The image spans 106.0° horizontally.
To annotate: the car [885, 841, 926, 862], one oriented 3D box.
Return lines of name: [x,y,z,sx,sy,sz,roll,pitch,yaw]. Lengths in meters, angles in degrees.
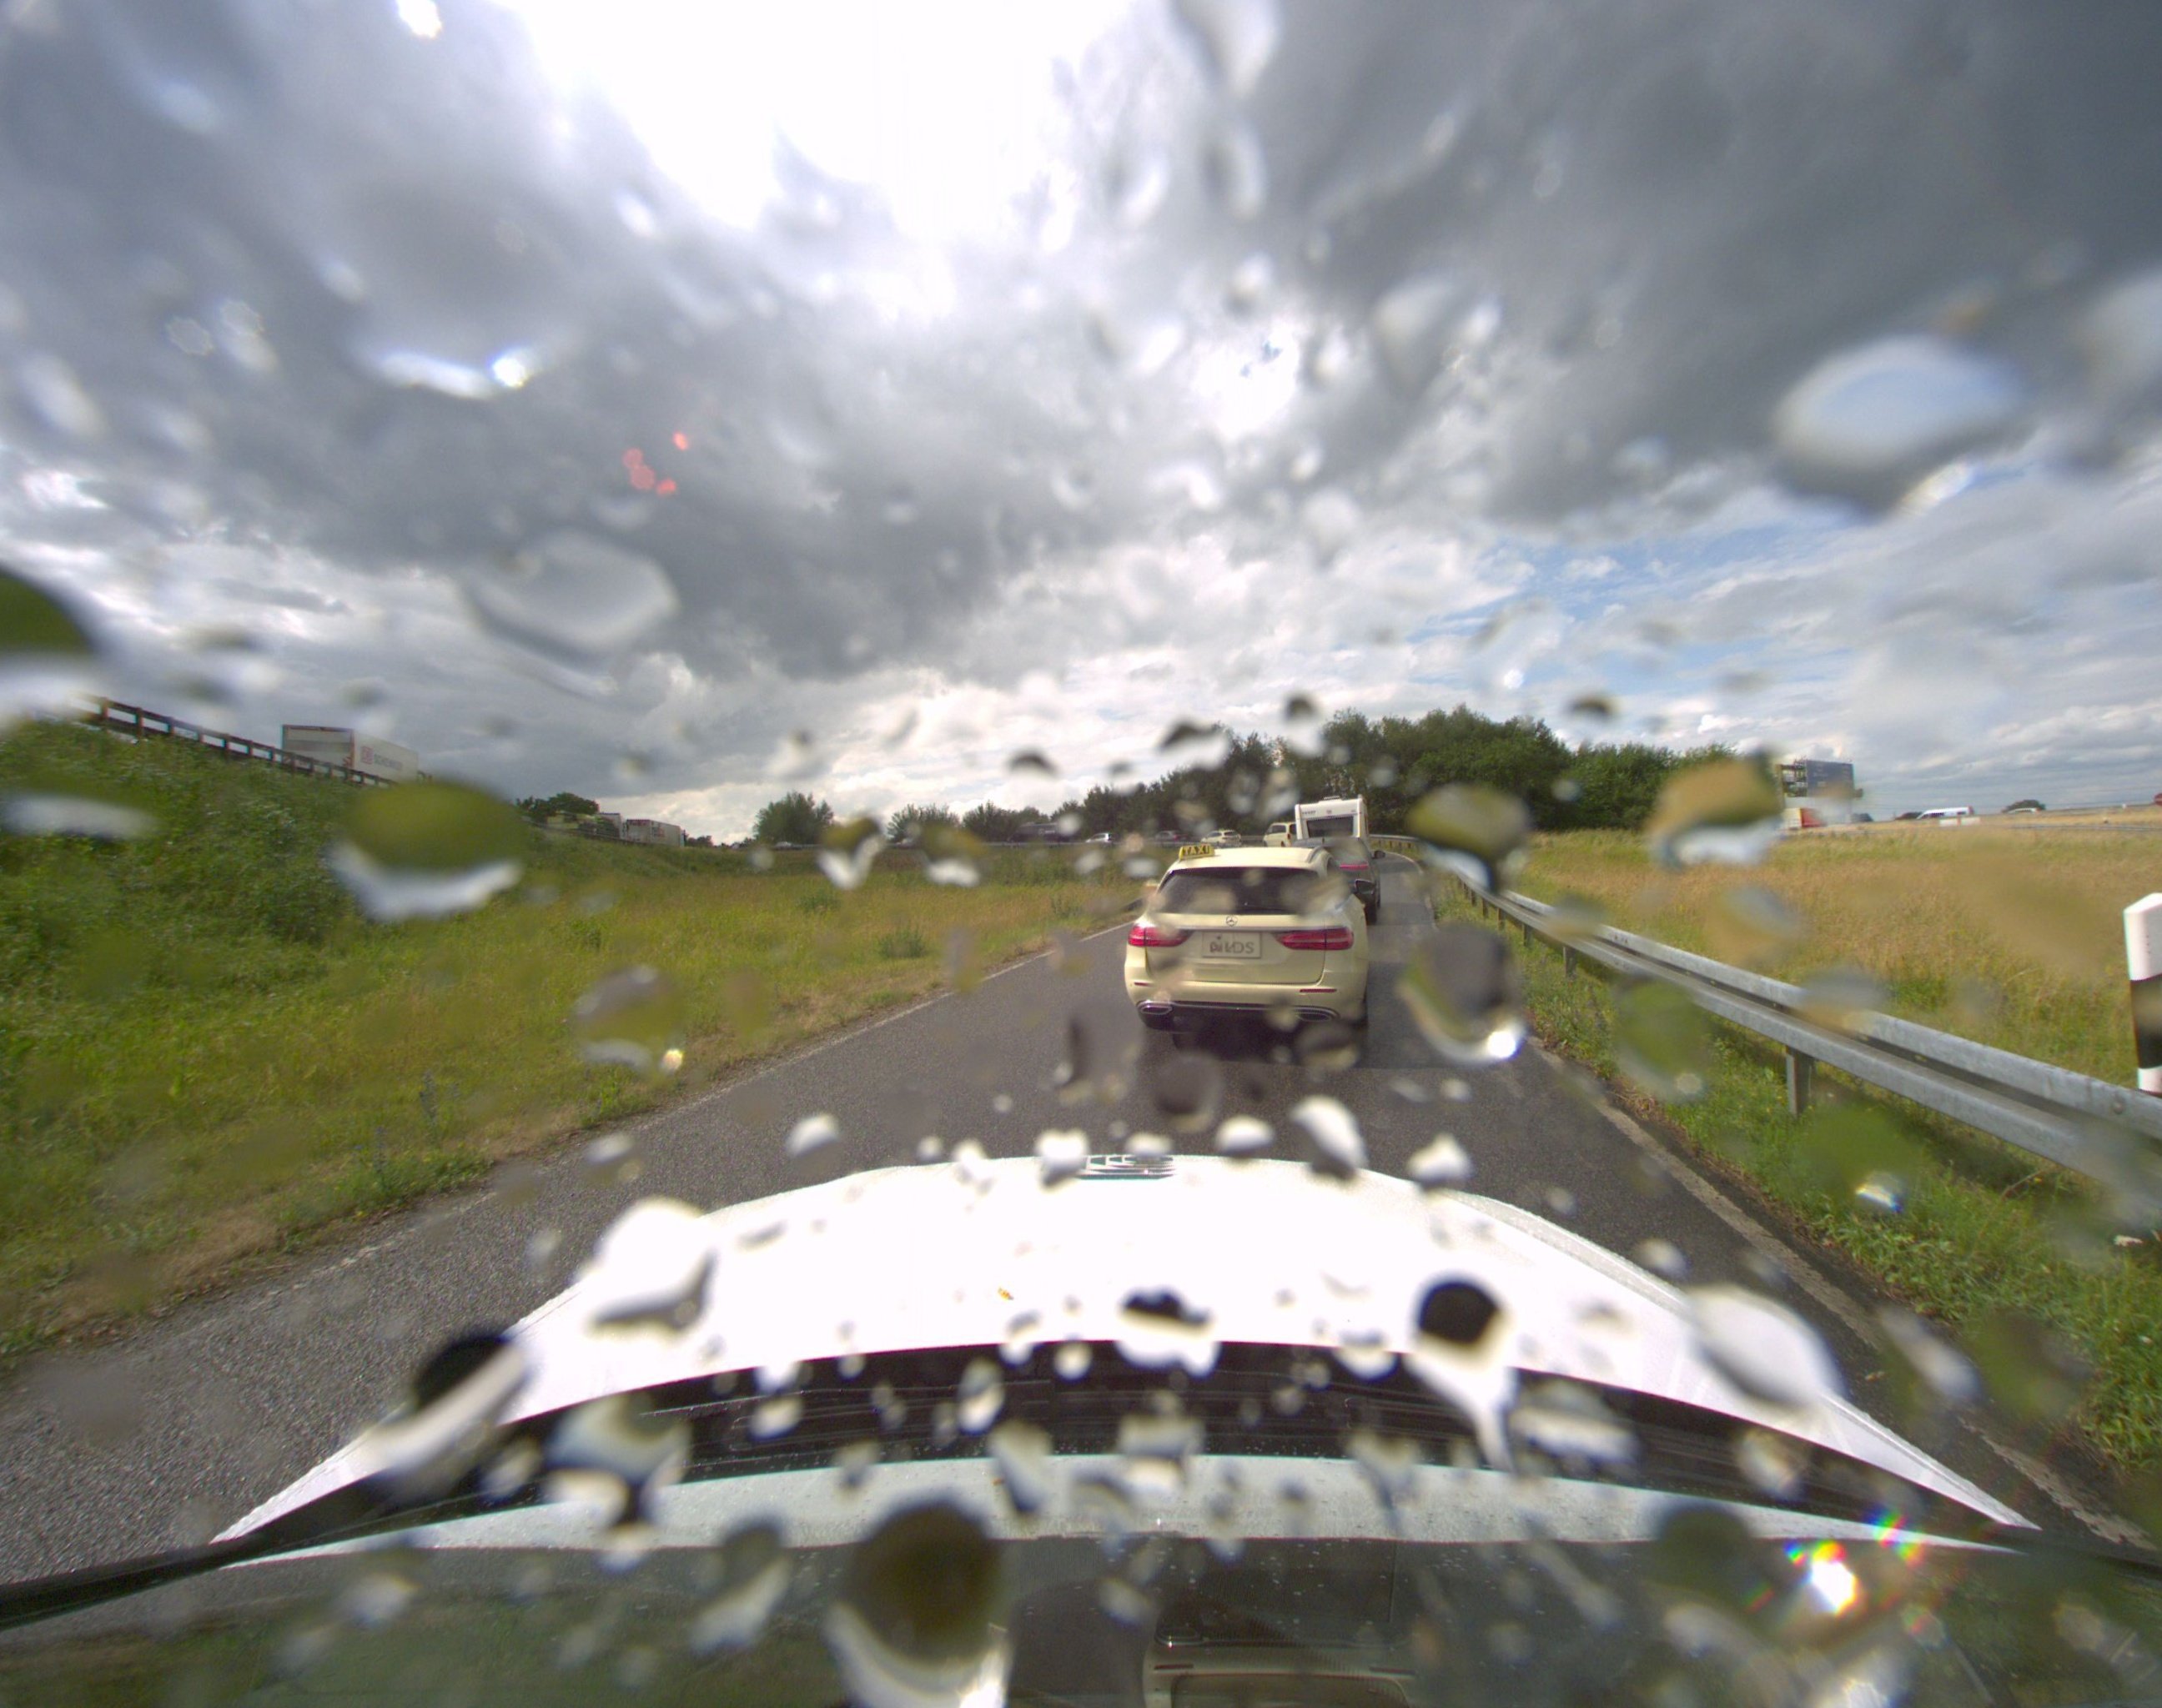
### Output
car: [-20.143,-0.310,93.388,3.949,2.012,2.014,-3,6,28]

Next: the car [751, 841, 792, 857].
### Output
car: [-40.549,-0.649,106.765,4.994,1.861,2.012,-3,-1,25]

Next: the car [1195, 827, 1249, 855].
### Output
car: [10.948,-1.013,63.474,1.999,1.861,5.027,-4,0,-17]

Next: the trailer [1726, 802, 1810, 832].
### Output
trailer: [94.593,-4.998,112.222,3.203,3.211,8.117,0,-3,-33]

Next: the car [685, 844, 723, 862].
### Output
car: [-44.638,-0.121,96.536,4.003,2.014,1.813,-1,-3,-22]

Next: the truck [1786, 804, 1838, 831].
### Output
truck: [97.131,-4.834,108.215,3.213,3.135,4.249,0,-3,-33]

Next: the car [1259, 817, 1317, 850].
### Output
car: [13.429,-1.290,53.211,1.991,1.861,5.047,-3,-1,-6]

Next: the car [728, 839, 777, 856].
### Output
car: [-40.132,-0.778,99.481,5.017,1.861,2.003,-3,-1,4]

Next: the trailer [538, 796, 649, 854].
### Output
trailer: [-48.094,-2.580,81.516,4.423,3.956,20.102,-1,-3,-16]

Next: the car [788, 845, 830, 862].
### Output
car: [-33.830,-0.025,101.320,4.469,1.861,2.005,-3,-1,9]

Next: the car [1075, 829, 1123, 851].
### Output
car: [1.773,-1.370,80.869,2.009,1.861,5.000,-2,-1,-37]

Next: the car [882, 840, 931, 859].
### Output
car: [-20.132,-0.522,93.915,5.001,1.861,2.009,-3,-1,17]

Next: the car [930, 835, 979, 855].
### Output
car: [-14.210,-0.994,91.197,4.997,1.861,2.011,-3,-1,22]

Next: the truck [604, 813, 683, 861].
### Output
truck: [-53.356,-1.831,100.167,4.470,4.504,19.265,-1,-3,-16]

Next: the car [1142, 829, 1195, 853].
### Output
car: [7.732,-1.128,72.733,2.007,1.861,5.007,-2,-1,-31]

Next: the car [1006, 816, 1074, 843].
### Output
car: [-4.397,-2.602,86.192,6.894,2.595,2.894,-1,1,38]

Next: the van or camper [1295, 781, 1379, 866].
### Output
van or camper: [9.487,-1.039,29.748,2.409,2.729,6.033,-1,0,22]

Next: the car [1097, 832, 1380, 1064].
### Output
car: [1.779,0.567,7.776,1.900,1.507,4.619,-1,1,19]

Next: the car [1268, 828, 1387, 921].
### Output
car: [4.829,0.342,15.590,1.703,1.525,4.022,-2,0,23]

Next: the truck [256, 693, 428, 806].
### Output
truck: [-36.279,-4.878,40.549,3.192,3.967,9.169,-1,-3,-21]
